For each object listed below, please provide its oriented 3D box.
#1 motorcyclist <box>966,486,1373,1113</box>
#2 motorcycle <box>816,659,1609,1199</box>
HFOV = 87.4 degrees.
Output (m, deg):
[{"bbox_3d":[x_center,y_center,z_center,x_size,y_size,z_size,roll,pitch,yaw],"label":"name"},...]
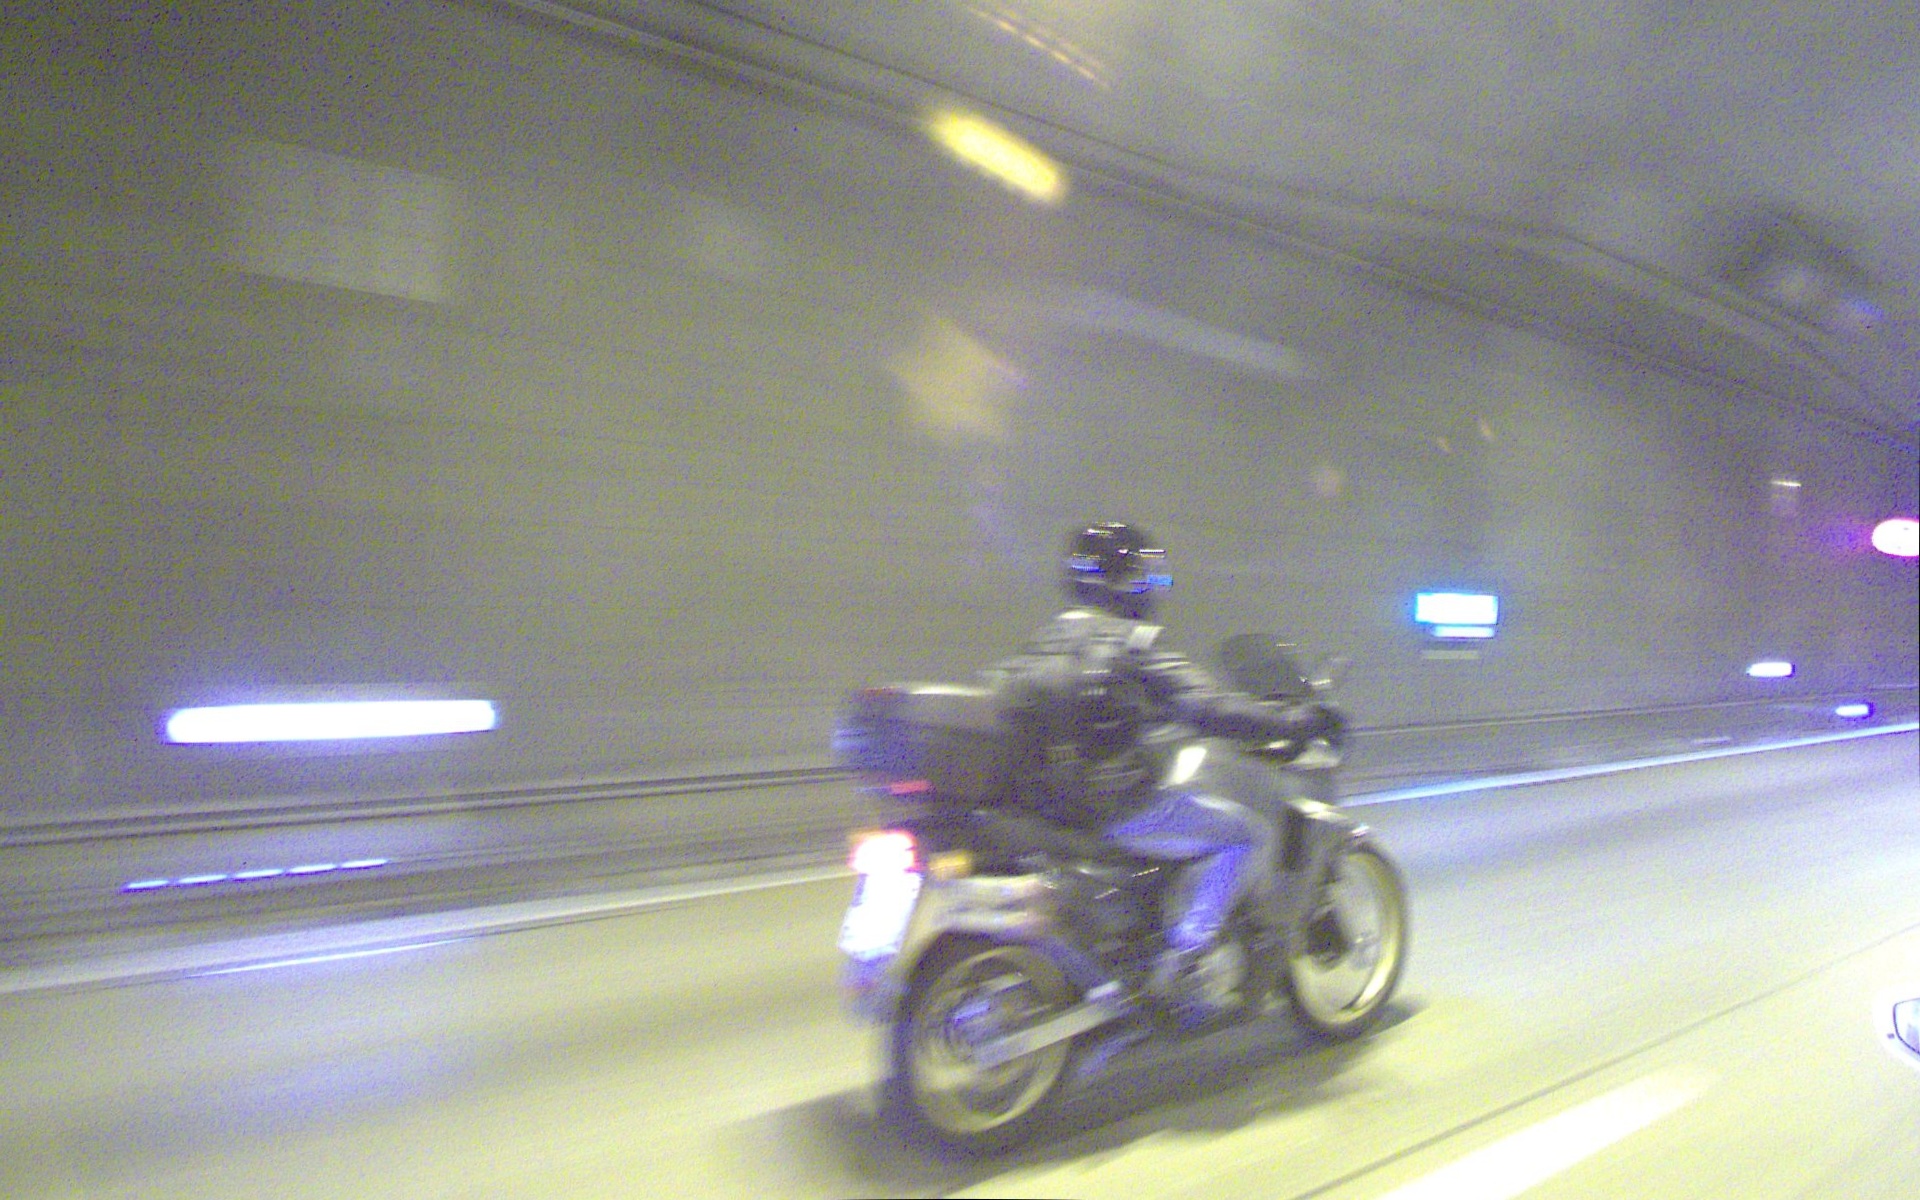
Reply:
[{"bbox_3d":[0.590,0.482,2.969,0.812,1.497,0.835,1,0,-31],"label":"motorcyclist"},{"bbox_3d":[0.918,0.842,3.166,2.575,1.262,0.841,2,-1,-31],"label":"motorcycle"}]
